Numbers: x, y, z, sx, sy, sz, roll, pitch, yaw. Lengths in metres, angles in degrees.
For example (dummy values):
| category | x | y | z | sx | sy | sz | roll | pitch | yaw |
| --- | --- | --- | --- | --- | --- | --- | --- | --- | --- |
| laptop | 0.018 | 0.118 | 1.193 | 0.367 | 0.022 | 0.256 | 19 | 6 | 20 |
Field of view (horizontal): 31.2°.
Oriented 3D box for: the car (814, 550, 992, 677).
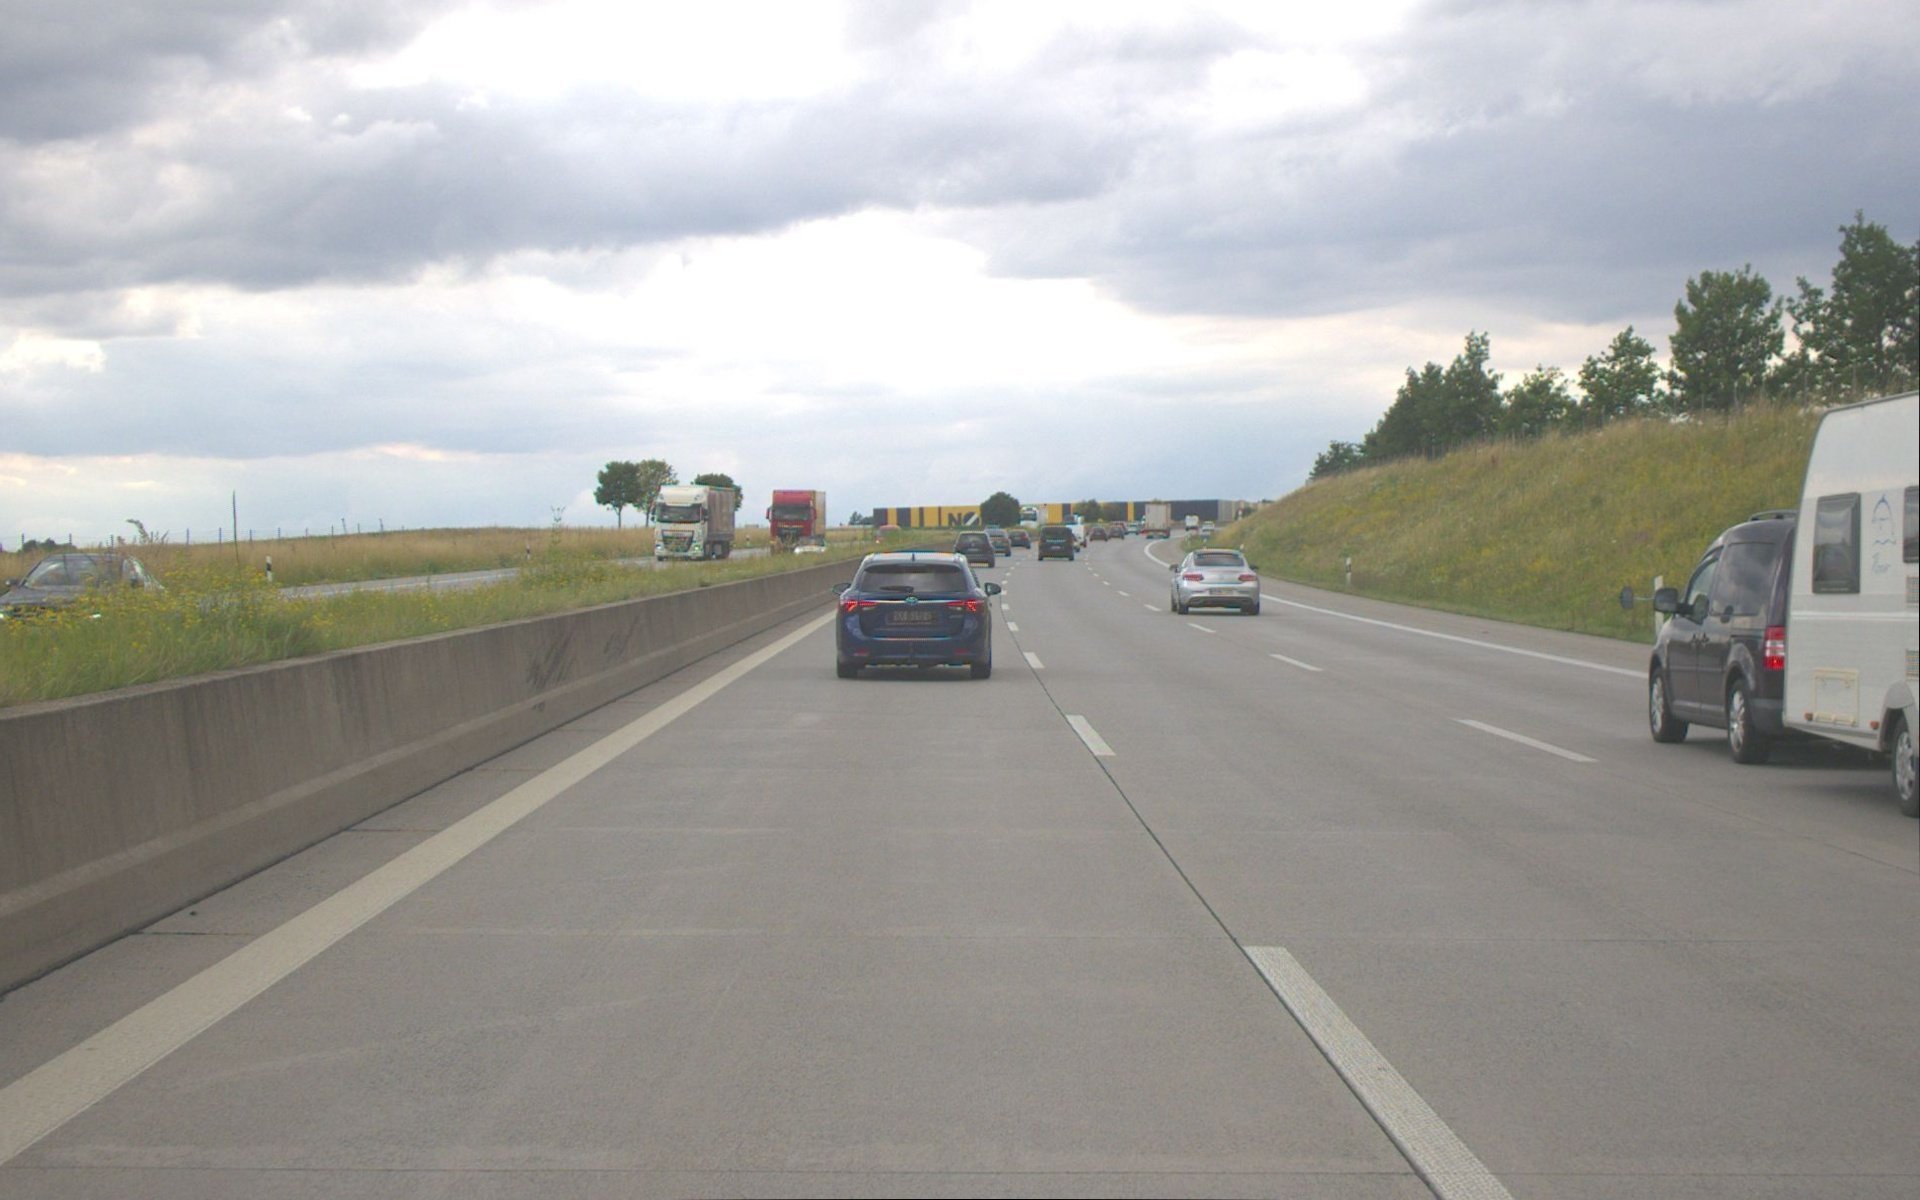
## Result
| category | x | y | z | sx | sy | sz | roll | pitch | yaw |
| --- | --- | --- | --- | --- | --- | --- | --- | --- | --- |
| car | -0.621 | 0.126 | 40.549 | 1.775 | 1.408 | 4.000 | 0 | 1 | 4 |

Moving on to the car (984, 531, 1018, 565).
| category | x | y | z | sx | sy | sz | roll | pitch | yaw |
| --- | --- | --- | --- | --- | --- | --- | --- | --- | --- |
| car | 2.433 | -3.090 | 205.275 | 1.993 | 2.007 | 4.000 | 1 | 1 | 1 |

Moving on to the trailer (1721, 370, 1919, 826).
| category | x | y | z | sx | sy | sz | roll | pitch | yaw |
| --- | --- | --- | --- | --- | --- | --- | --- | --- | --- |
| trailer | 6.606 | -0.027 | 20.305 | 2.608 | 2.525 | 6.722 | 0 | 1 | -1 |

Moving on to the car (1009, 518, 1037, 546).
| category | x | y | z | sx | sy | sz | roll | pitch | yaw |
| --- | --- | --- | --- | --- | --- | --- | --- | --- | --- |
| car | 4.703 | -5.052 | 256.591 | 1.993 | 2.007 | 4.000 | 1 | 1 | 1 |

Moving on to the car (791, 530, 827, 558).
| category | x | y | z | sx | sy | sz | roll | pitch | yaw |
| --- | --- | --- | --- | --- | --- | --- | --- | --- | --- |
| car | -7.449 | -2.792 | 170.178 | 1.567 | 1.347 | 3.473 | 0 | 1 | 1 |

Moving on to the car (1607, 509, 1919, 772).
| category | x | y | z | sx | sy | sz | roll | pitch | yaw |
| --- | --- | --- | --- | --- | --- | --- | --- | --- | --- |
| car | 6.389 | 0.238 | 26.058 | 1.939 | 1.803 | 5.032 | 0 | 1 | -1 |

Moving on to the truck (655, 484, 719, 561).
| category | x | y | z | sx | sy | sz | roll | pitch | yaw |
| --- | --- | --- | --- | --- | --- | --- | --- | --- | --- |
| truck | -14.607 | -4.152 | 184.139 | 2.839 | 4.024 | 5.511 | 0 | 1 | 1 |

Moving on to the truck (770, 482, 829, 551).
| category | x | y | z | sx | sy | sz | roll | pitch | yaw |
| --- | --- | --- | --- | --- | --- | --- | --- | --- | --- |
| truck | -9.550 | -4.986 | 205.328 | 2.816 | 4.024 | 10.569 | 0 | 1 | 1 |

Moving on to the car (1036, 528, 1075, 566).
| category | x | y | z | sx | sy | sz | roll | pitch | yaw |
| --- | --- | --- | --- | --- | --- | --- | --- | --- | --- |
| car | 5.118 | -2.846 | 184.642 | 1.993 | 2.007 | 4.000 | 1 | 1 | 1 |

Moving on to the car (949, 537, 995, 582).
| category | x | y | z | sx | sy | sz | roll | pitch | yaw |
| --- | --- | --- | --- | --- | --- | --- | --- | --- | --- |
| car | 0.562 | -1.842 | 155.825 | 2.046 | 2.007 | 4.000 | 1 | 1 | 1 |

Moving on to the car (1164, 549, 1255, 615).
| category | x | y | z | sx | sy | sz | roll | pitch | yaw |
| --- | --- | --- | --- | --- | --- | --- | --- | --- | --- |
| car | 5.517 | -0.422 | 76.326 | 1.789 | 1.398 | 4.221 | 0 | 1 | 1 |

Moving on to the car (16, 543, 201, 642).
| category | x | y | z | sx | sy | sz | roll | pitch | yaw |
| --- | --- | --- | --- | --- | --- | --- | --- | --- | --- |
| car | -12.369 | -0.128 | 50.161 | 1.641 | 1.368 | 4.099 | 1 | 1 | 0 |
